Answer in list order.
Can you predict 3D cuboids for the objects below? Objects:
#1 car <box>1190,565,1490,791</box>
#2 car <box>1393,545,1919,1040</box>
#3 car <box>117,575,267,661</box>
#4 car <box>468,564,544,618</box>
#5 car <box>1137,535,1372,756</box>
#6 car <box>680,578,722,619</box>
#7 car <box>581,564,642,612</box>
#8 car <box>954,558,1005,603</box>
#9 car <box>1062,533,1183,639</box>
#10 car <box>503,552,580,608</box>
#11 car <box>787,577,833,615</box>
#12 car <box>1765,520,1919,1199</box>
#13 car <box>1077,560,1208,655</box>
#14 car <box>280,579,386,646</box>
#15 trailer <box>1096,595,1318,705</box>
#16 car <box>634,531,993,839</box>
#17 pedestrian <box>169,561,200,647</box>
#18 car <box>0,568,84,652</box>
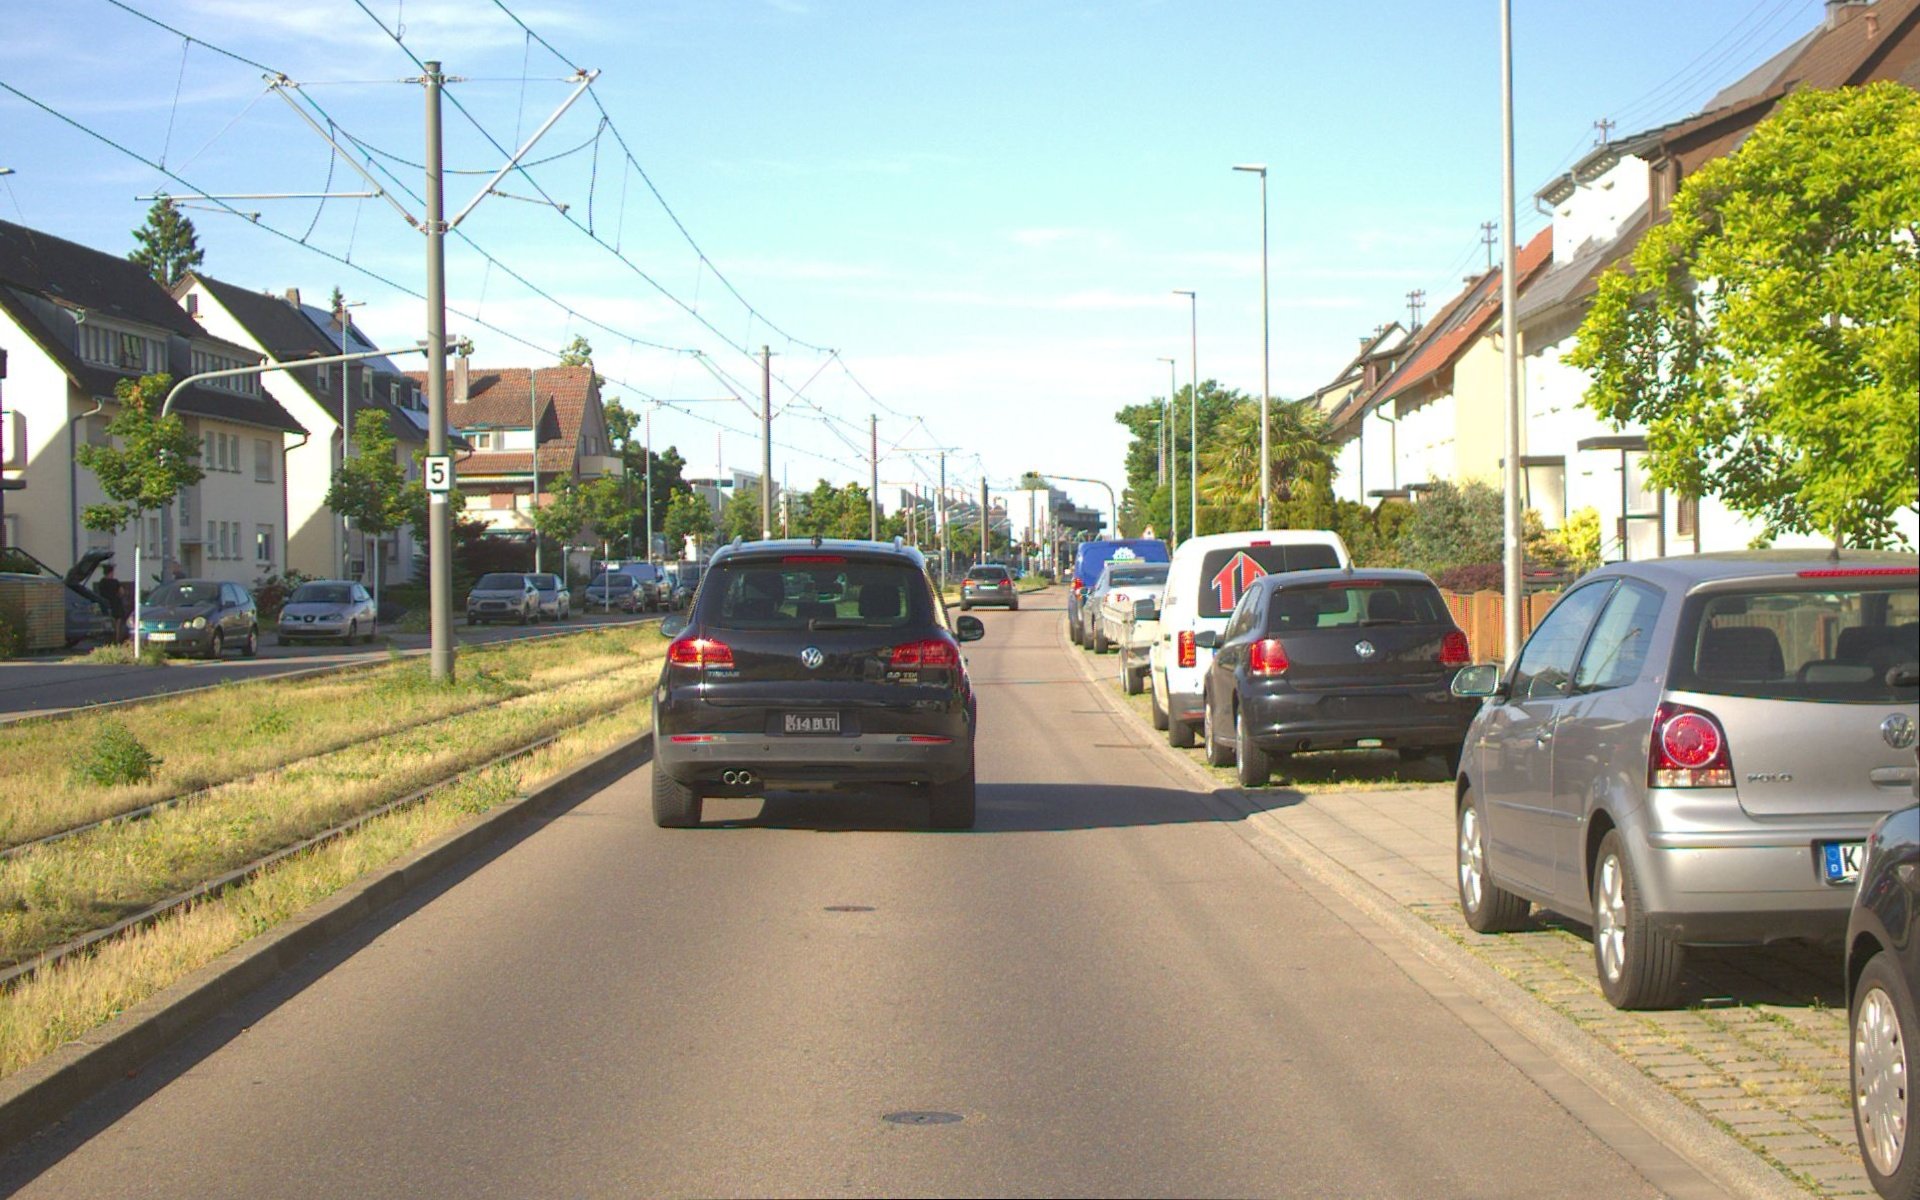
[{"bbox_3d":[2.635,0.497,24.659,1.671,1.448,4.126,-1,0,0],"label":"car"},{"bbox_3d":[2.756,0.558,12.587,1.615,1.470,4.450,-1,0,-2],"label":"car"},{"bbox_3d":[-14.091,0.314,63.283,1.619,1.448,3.717,-1,1,5],"label":"car"},{"bbox_3d":[-13.083,-0.275,99.313,1.659,1.491,3.579,-1,1,1],"label":"car"},{"bbox_3d":[2.531,0.337,30.461,1.690,1.770,4.656,-1,1,1],"label":"car"},{"bbox_3d":[-10.869,-0.066,144.441,1.465,1.671,3.287,-1,0,0],"label":"car"},{"bbox_3d":[-12.303,-0.411,121.549,1.660,1.576,4.000,-1,-1,1],"label":"car"},{"bbox_3d":[0.610,-0.641,110.283,1.572,1.386,3.614,-1,1,0],"label":"car"},{"bbox_3d":[2.972,-0.280,63.819,1.993,1.855,4.917,-1,1,0],"label":"car"},{"bbox_3d":[-12.820,-0.630,105.467,1.803,1.626,4.000,-1,1,1],"label":"car"},{"bbox_3d":[-6.852,-0.168,157.260,1.873,1.649,4.000,-1,-1,0],"label":"car"},{"bbox_3d":[2.811,0.576,6.461,1.666,1.542,3.835,-3,1,1],"label":"car"},{"bbox_3d":[3.008,0.095,57.449,1.786,1.436,4.460,-2,1,-2],"label":"car"},{"bbox_3d":[-13.862,0.299,76.175,1.618,1.404,3.717,-1,-1,1],"label":"car"},{"bbox_3d":[2.848,0.553,40.591,2.204,1.090,4.372,-2,1,-1],"label":"trailer"},{"bbox_3d":[-0.993,0.459,20.872,1.811,1.665,4.258,1,0,-7],"label":"car"},{"bbox_3d":[-15.736,0.082,69.767,0.468,1.740,0.536,-1,1,0],"label":"pedestrian"},{"bbox_3d":[-19.118,0.214,66.660,3.901,1.563,1.735,-1,1,-6],"label":"car"}]
